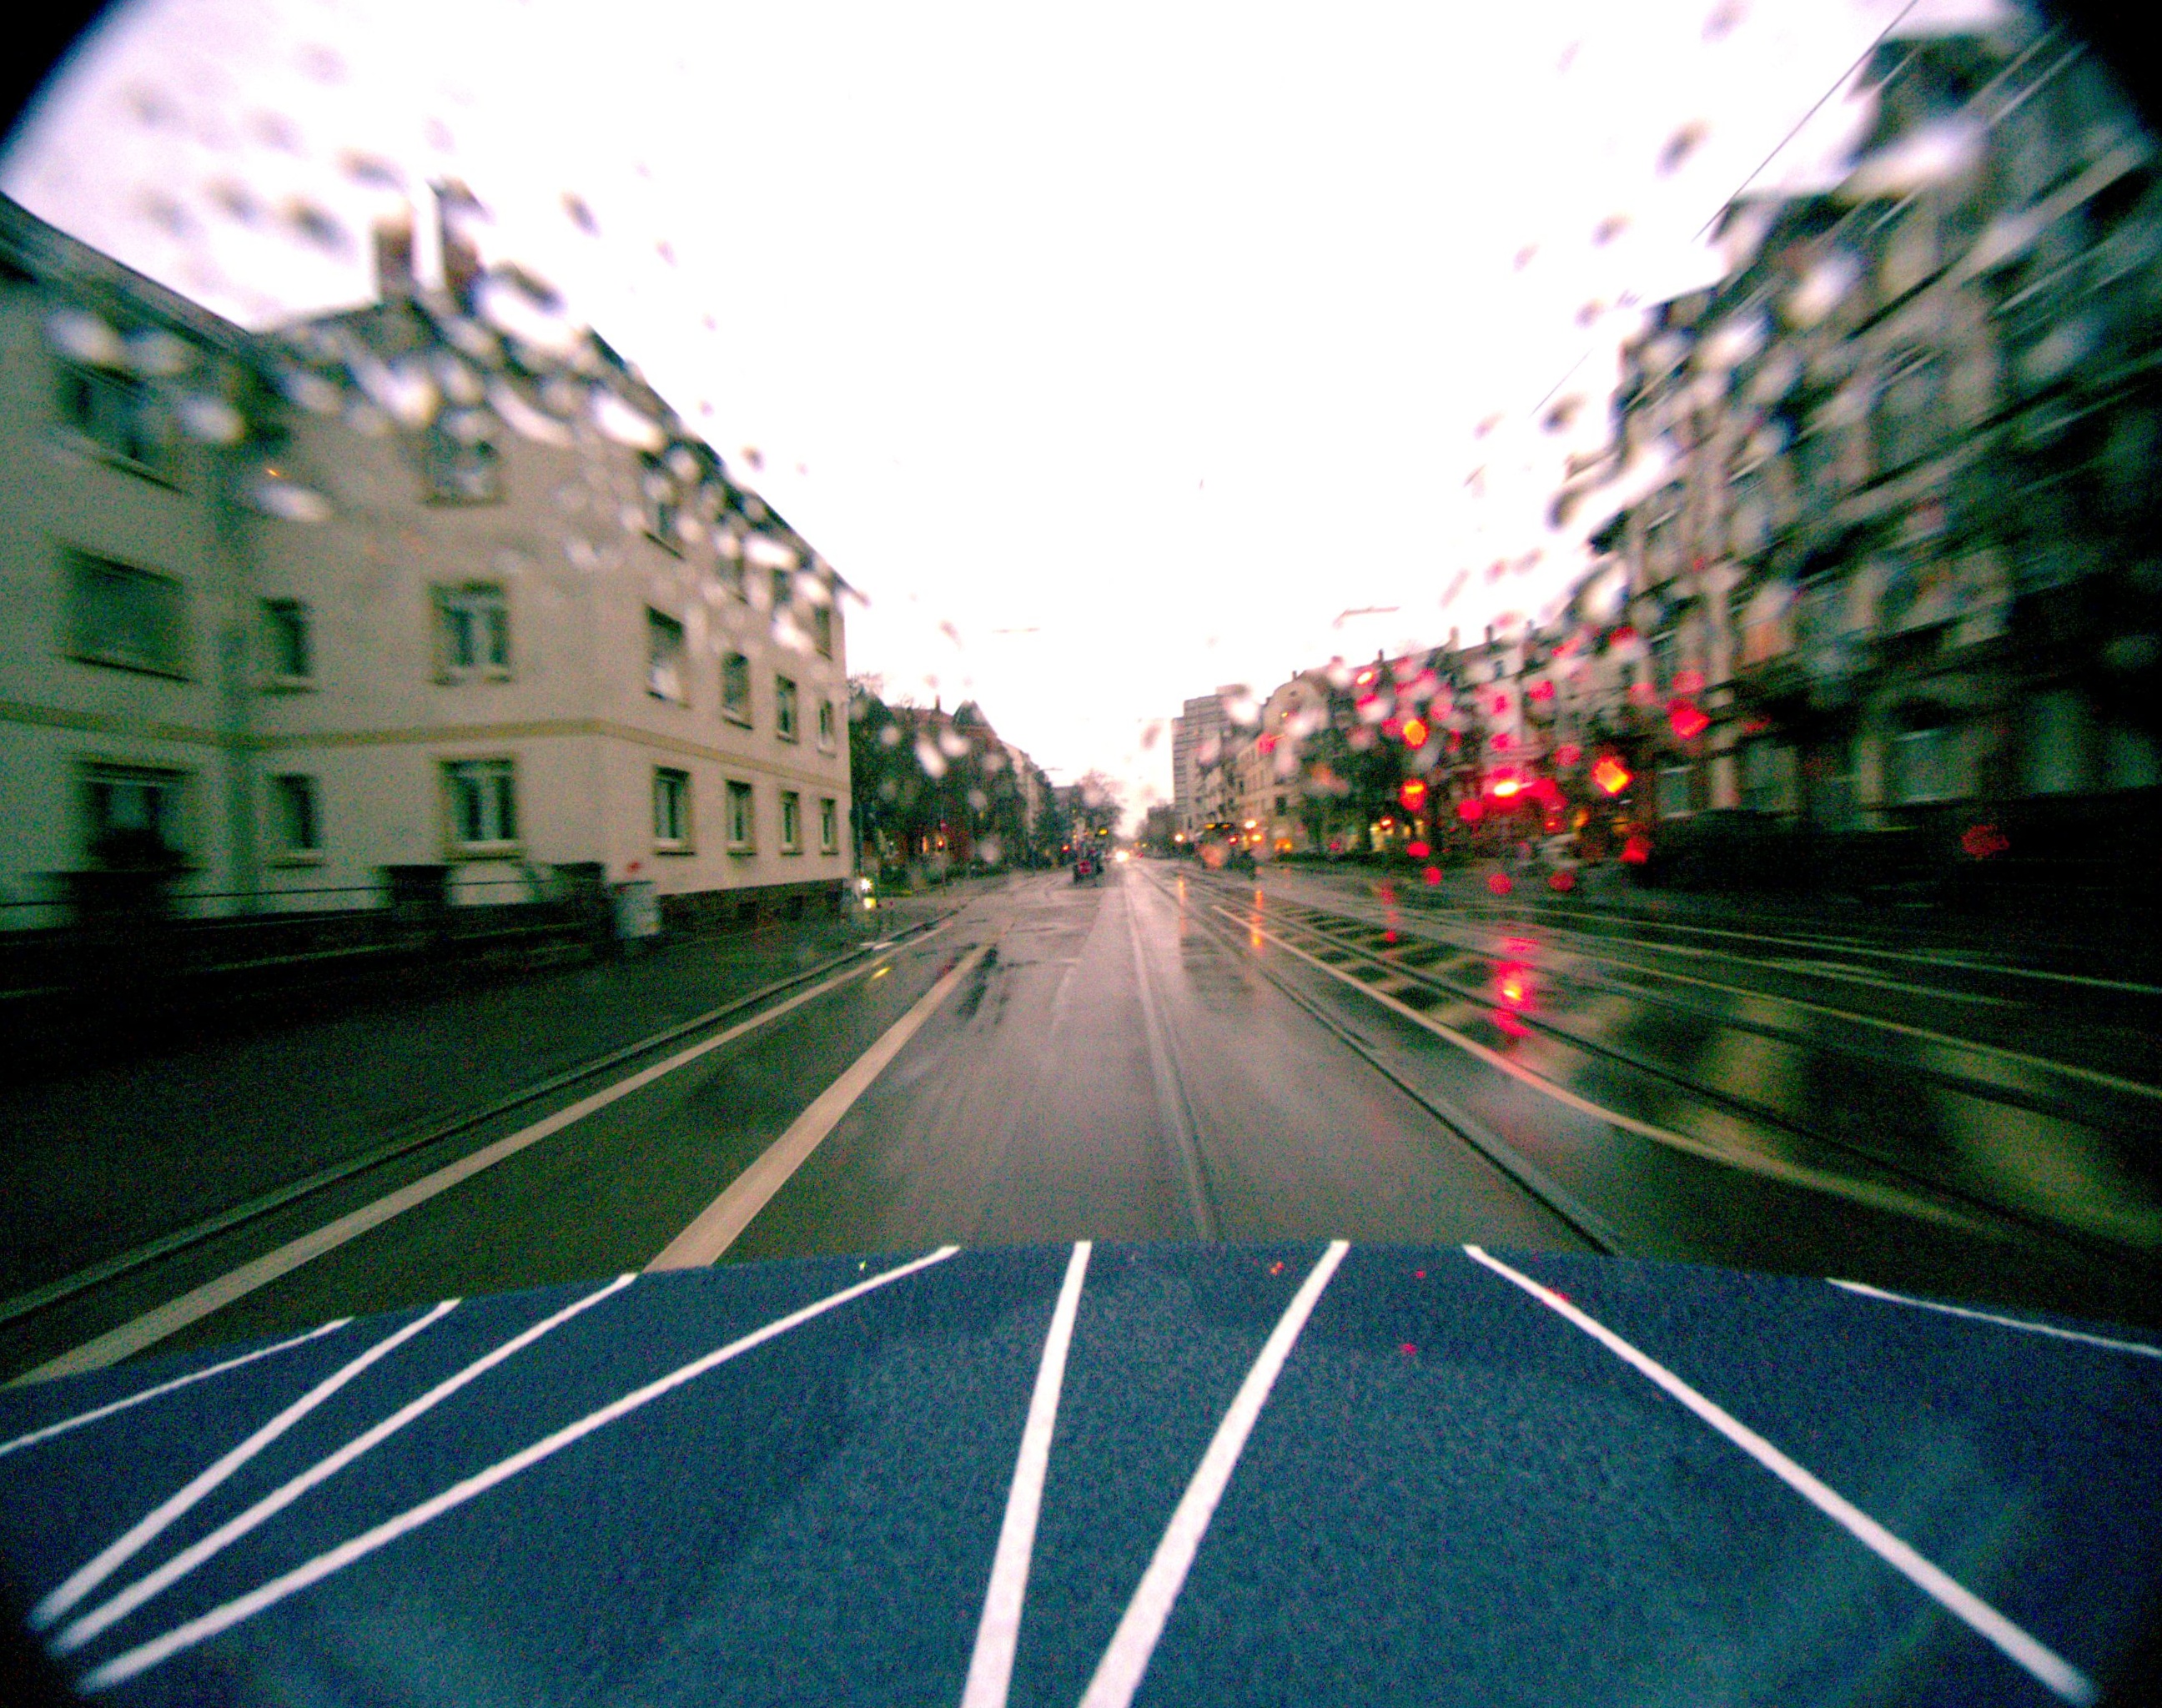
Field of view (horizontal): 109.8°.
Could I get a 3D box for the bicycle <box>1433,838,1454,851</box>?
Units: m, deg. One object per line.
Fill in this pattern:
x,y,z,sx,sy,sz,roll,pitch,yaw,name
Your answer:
29.201,-0.733,61.268,0.492,1.001,1.809,-3,1,-11,bicycle

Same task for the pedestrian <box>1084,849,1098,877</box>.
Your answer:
0.618,0.555,47.044,0.659,1.698,0.571,-5,1,4,pedestrian

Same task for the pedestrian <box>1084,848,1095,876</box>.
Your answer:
0.544,0.542,50.038,0.558,1.797,0.571,-5,1,4,pedestrian

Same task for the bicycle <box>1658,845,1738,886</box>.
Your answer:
13.820,0.234,17.082,0.400,0.857,1.849,-3,1,4,bicycle

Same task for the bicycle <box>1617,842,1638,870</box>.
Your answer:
16.500,0.059,22.934,0.400,0.754,1.814,-2,1,39,bicycle

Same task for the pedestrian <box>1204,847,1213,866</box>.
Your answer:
9.771,0.215,58.126,0.474,1.395,0.453,-5,1,3,pedestrian

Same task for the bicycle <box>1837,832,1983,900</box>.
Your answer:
13.305,0.167,12.270,0.417,1.001,1.849,-3,1,4,bicycle

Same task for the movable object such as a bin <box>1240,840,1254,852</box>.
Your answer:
21.340,-1.039,97.705,1.352,1.364,1.281,-5,1,2,movable object such as a bin

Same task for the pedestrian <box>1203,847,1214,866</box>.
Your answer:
9.845,0.205,58.624,0.685,1.395,0.578,-5,1,3,pedestrian

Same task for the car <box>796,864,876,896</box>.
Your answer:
-12.848,1.327,39.674,4.740,1.501,1.903,-1,1,44,car

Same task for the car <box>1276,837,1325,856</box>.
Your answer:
21.317,-0.751,73.771,4.334,1.574,1.940,-3,1,23,car

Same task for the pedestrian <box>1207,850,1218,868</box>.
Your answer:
9.792,0.368,56.578,0.654,1.211,0.517,-5,1,3,pedestrian

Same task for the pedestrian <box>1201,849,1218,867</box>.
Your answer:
9.684,0.310,57.247,1.058,1.247,0.506,-5,1,3,pedestrian

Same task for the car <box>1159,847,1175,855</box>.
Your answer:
21.535,-0.688,190.422,3.839,1.707,1.728,-5,0,4,car

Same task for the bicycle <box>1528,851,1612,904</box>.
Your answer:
10.198,0.462,15.921,0.683,1.001,1.803,-3,1,4,bicycle

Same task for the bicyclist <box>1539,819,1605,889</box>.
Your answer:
10.149,-0.004,15.725,0.706,1.356,0.944,-4,1,4,bicyclist

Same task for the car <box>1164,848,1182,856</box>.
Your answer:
20.398,-0.458,168.251,3.839,1.405,1.727,-3,1,4,car

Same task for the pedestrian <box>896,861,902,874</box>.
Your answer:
-19.062,1.391,79.577,0.547,1.309,0.608,-4,0,-9,pedestrian

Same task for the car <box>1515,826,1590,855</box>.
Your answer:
31.406,-0.892,50.684,1.882,1.761,3.855,-2,0,-23,car

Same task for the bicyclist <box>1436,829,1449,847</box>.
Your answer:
29.180,-1.286,61.308,0.531,1.356,0.765,-4,1,-11,bicyclist

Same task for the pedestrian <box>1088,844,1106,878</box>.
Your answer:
0.923,0.430,44.707,0.689,1.906,0.717,-5,1,-18,pedestrian
